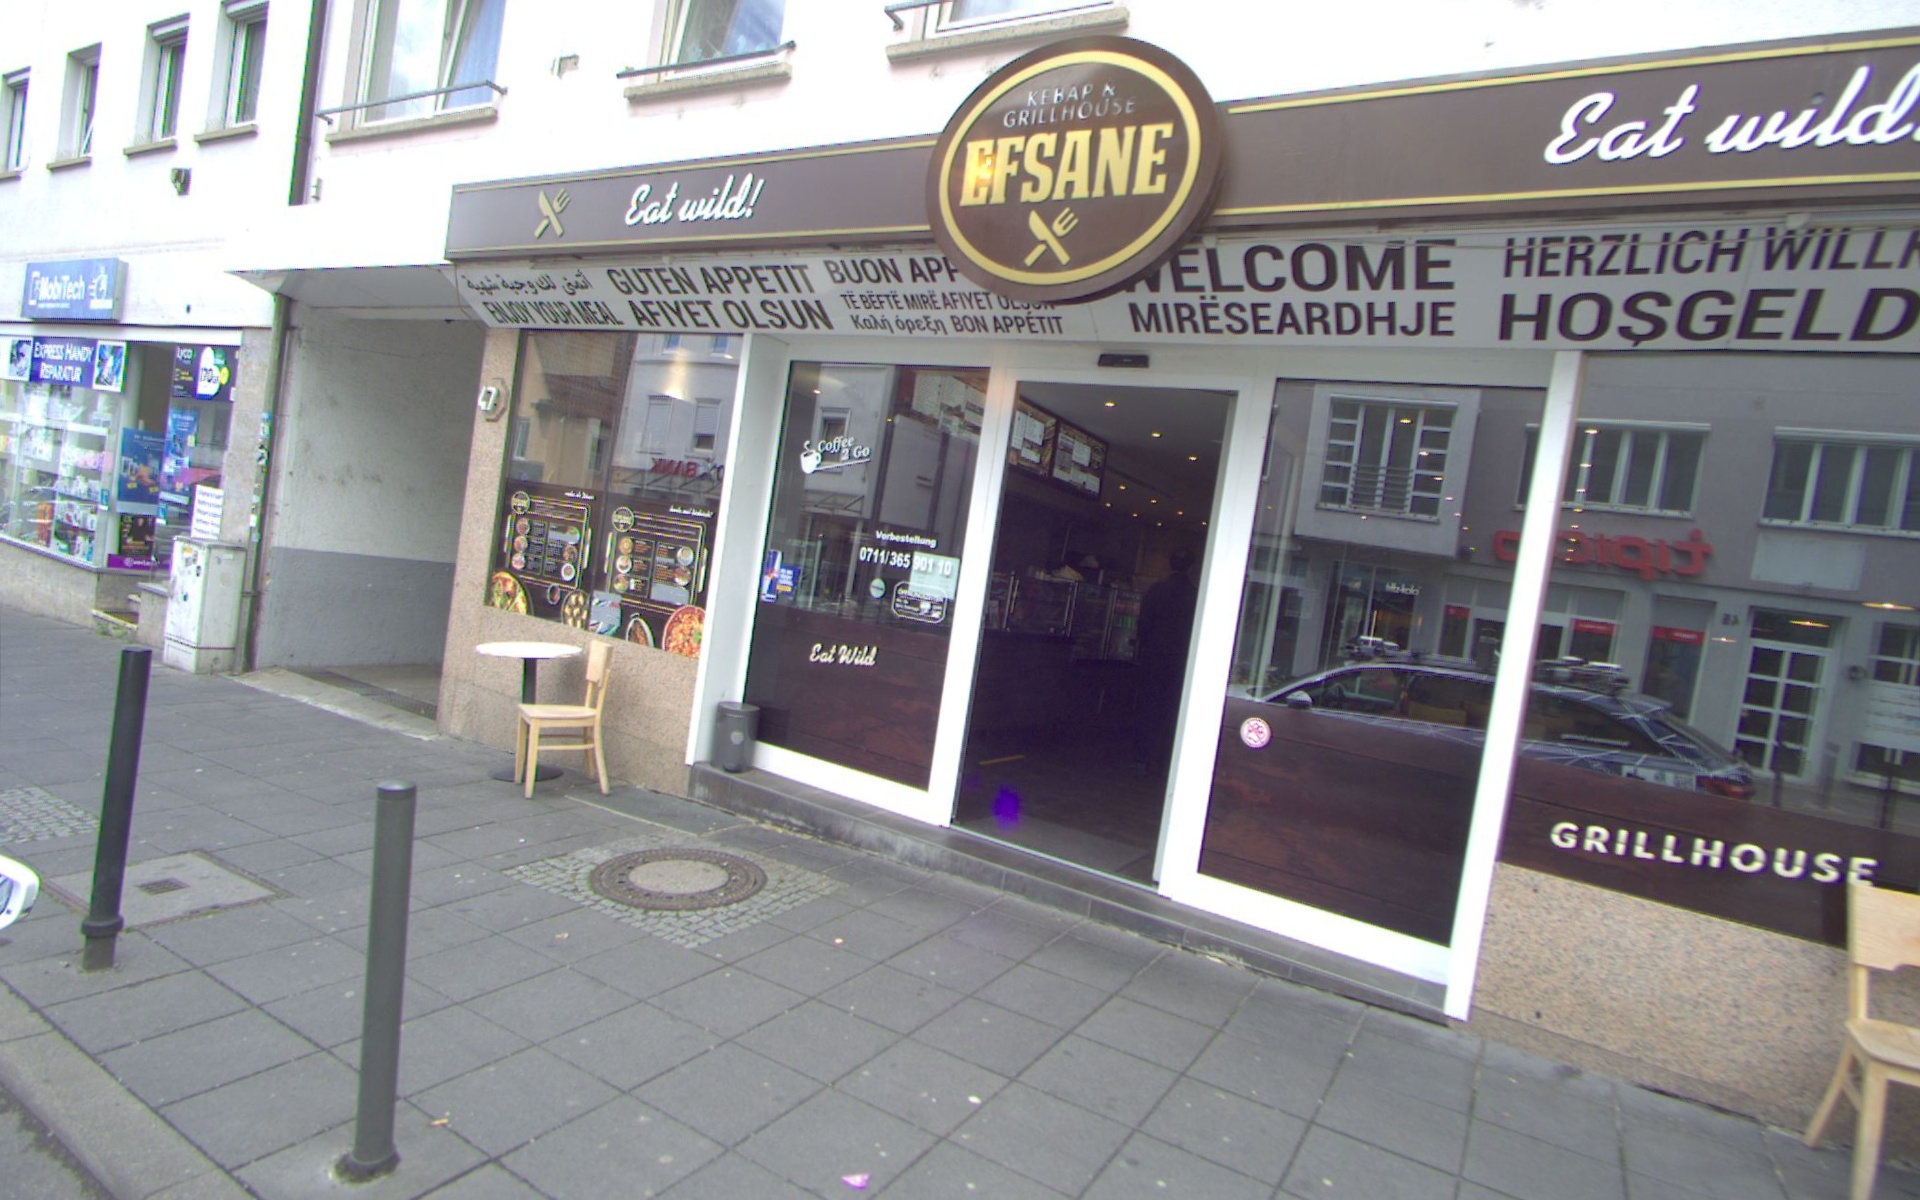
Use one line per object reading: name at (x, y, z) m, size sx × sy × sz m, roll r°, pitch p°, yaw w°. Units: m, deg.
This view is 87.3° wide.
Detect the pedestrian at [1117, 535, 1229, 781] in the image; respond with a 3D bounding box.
pedestrian at (1.614, 0.433, 7.721) m, size 0.595 × 1.747 × 0.628 m, roll 7°, pitch 0°, yaw 8°
